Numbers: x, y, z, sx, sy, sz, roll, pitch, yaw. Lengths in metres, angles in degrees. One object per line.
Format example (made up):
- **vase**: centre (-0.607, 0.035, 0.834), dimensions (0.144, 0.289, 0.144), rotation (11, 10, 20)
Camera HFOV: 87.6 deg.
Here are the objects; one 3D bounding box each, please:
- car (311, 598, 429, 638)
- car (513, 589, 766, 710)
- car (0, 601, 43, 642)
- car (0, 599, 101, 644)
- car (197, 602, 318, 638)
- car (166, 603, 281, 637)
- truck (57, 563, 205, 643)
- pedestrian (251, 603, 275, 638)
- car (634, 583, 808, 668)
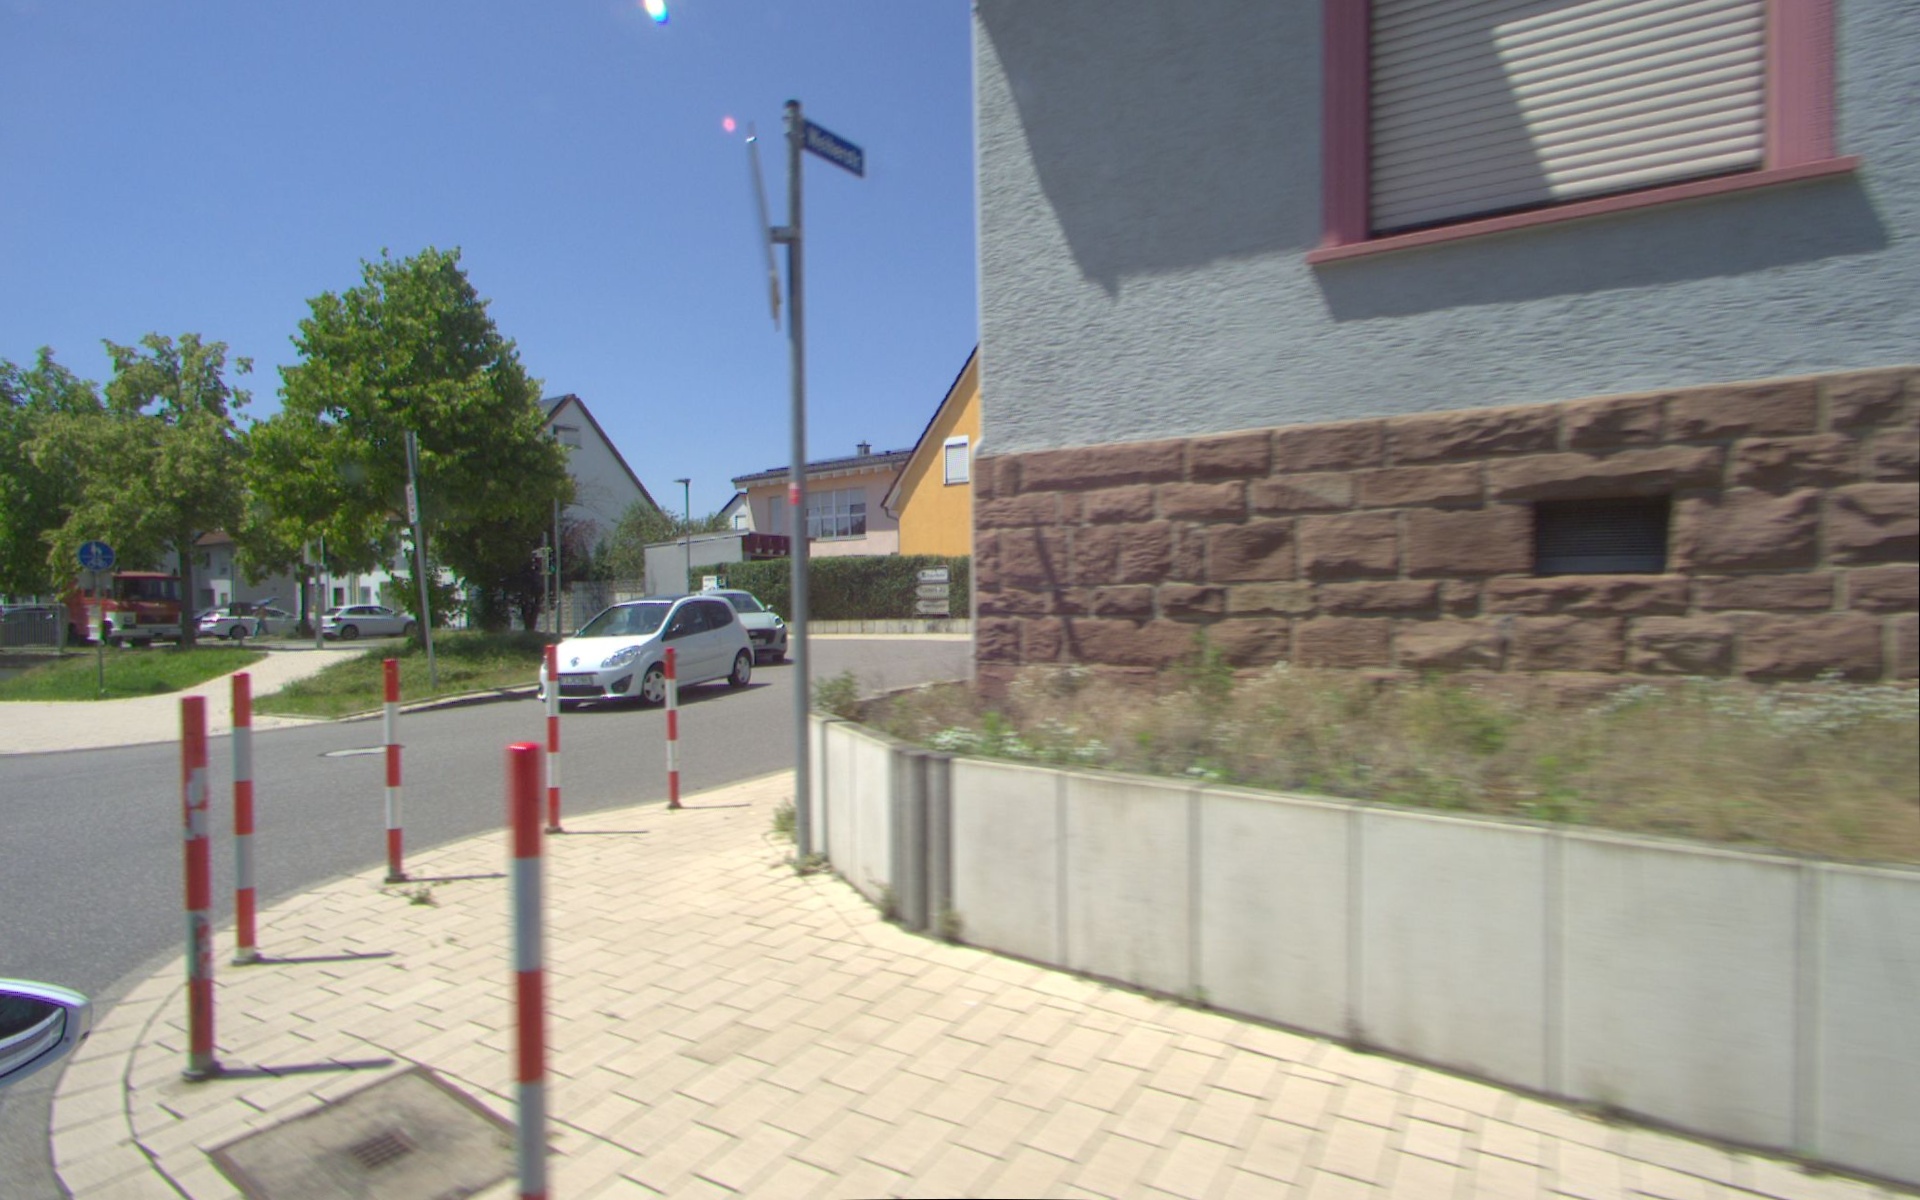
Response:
- **car**: centre (-25.179, 0.734, 42.857), dimensions (1.733, 1.498, 3.926), rotation (-1, 1, 33)
- **car**: centre (-4.493, 0.631, 14.641), dimensions (1.744, 1.498, 3.676), rotation (-2, 0, 15)
- **car**: centre (-36.564, 0.803, 36.629), dimensions (1.663, 1.518, 4.194), rotation (-1, 0, 34)
- **car**: centre (-32.269, 0.724, 34.304), dimensions (1.724, 1.518, 3.977), rotation (-1, 0, 34)
- **car**: centre (-33.783, 0.934, 48.251), dimensions (1.733, 1.510, 4.394), rotation (-1, 1, 33)
- **car**: centre (-37.699, 0.983, 51.380), dimensions (1.733, 1.510, 4.394), rotation (-1, 1, 33)
- **truck**: centre (-26.473, 0.125, 31.925), dimensions (5.185, 2.365, 2.128), rotation (-1, 0, 32)
- **pedestrian**: centre (-31.726, 0.944, 45.590), dimensions (0.603, 1.532, 0.740), rotation (-2, 3, -13)
- **car**: centre (-5.170, 0.511, 21.355), dimensions (1.757, 1.556, 4.086), rotation (-5, 2, -44)
